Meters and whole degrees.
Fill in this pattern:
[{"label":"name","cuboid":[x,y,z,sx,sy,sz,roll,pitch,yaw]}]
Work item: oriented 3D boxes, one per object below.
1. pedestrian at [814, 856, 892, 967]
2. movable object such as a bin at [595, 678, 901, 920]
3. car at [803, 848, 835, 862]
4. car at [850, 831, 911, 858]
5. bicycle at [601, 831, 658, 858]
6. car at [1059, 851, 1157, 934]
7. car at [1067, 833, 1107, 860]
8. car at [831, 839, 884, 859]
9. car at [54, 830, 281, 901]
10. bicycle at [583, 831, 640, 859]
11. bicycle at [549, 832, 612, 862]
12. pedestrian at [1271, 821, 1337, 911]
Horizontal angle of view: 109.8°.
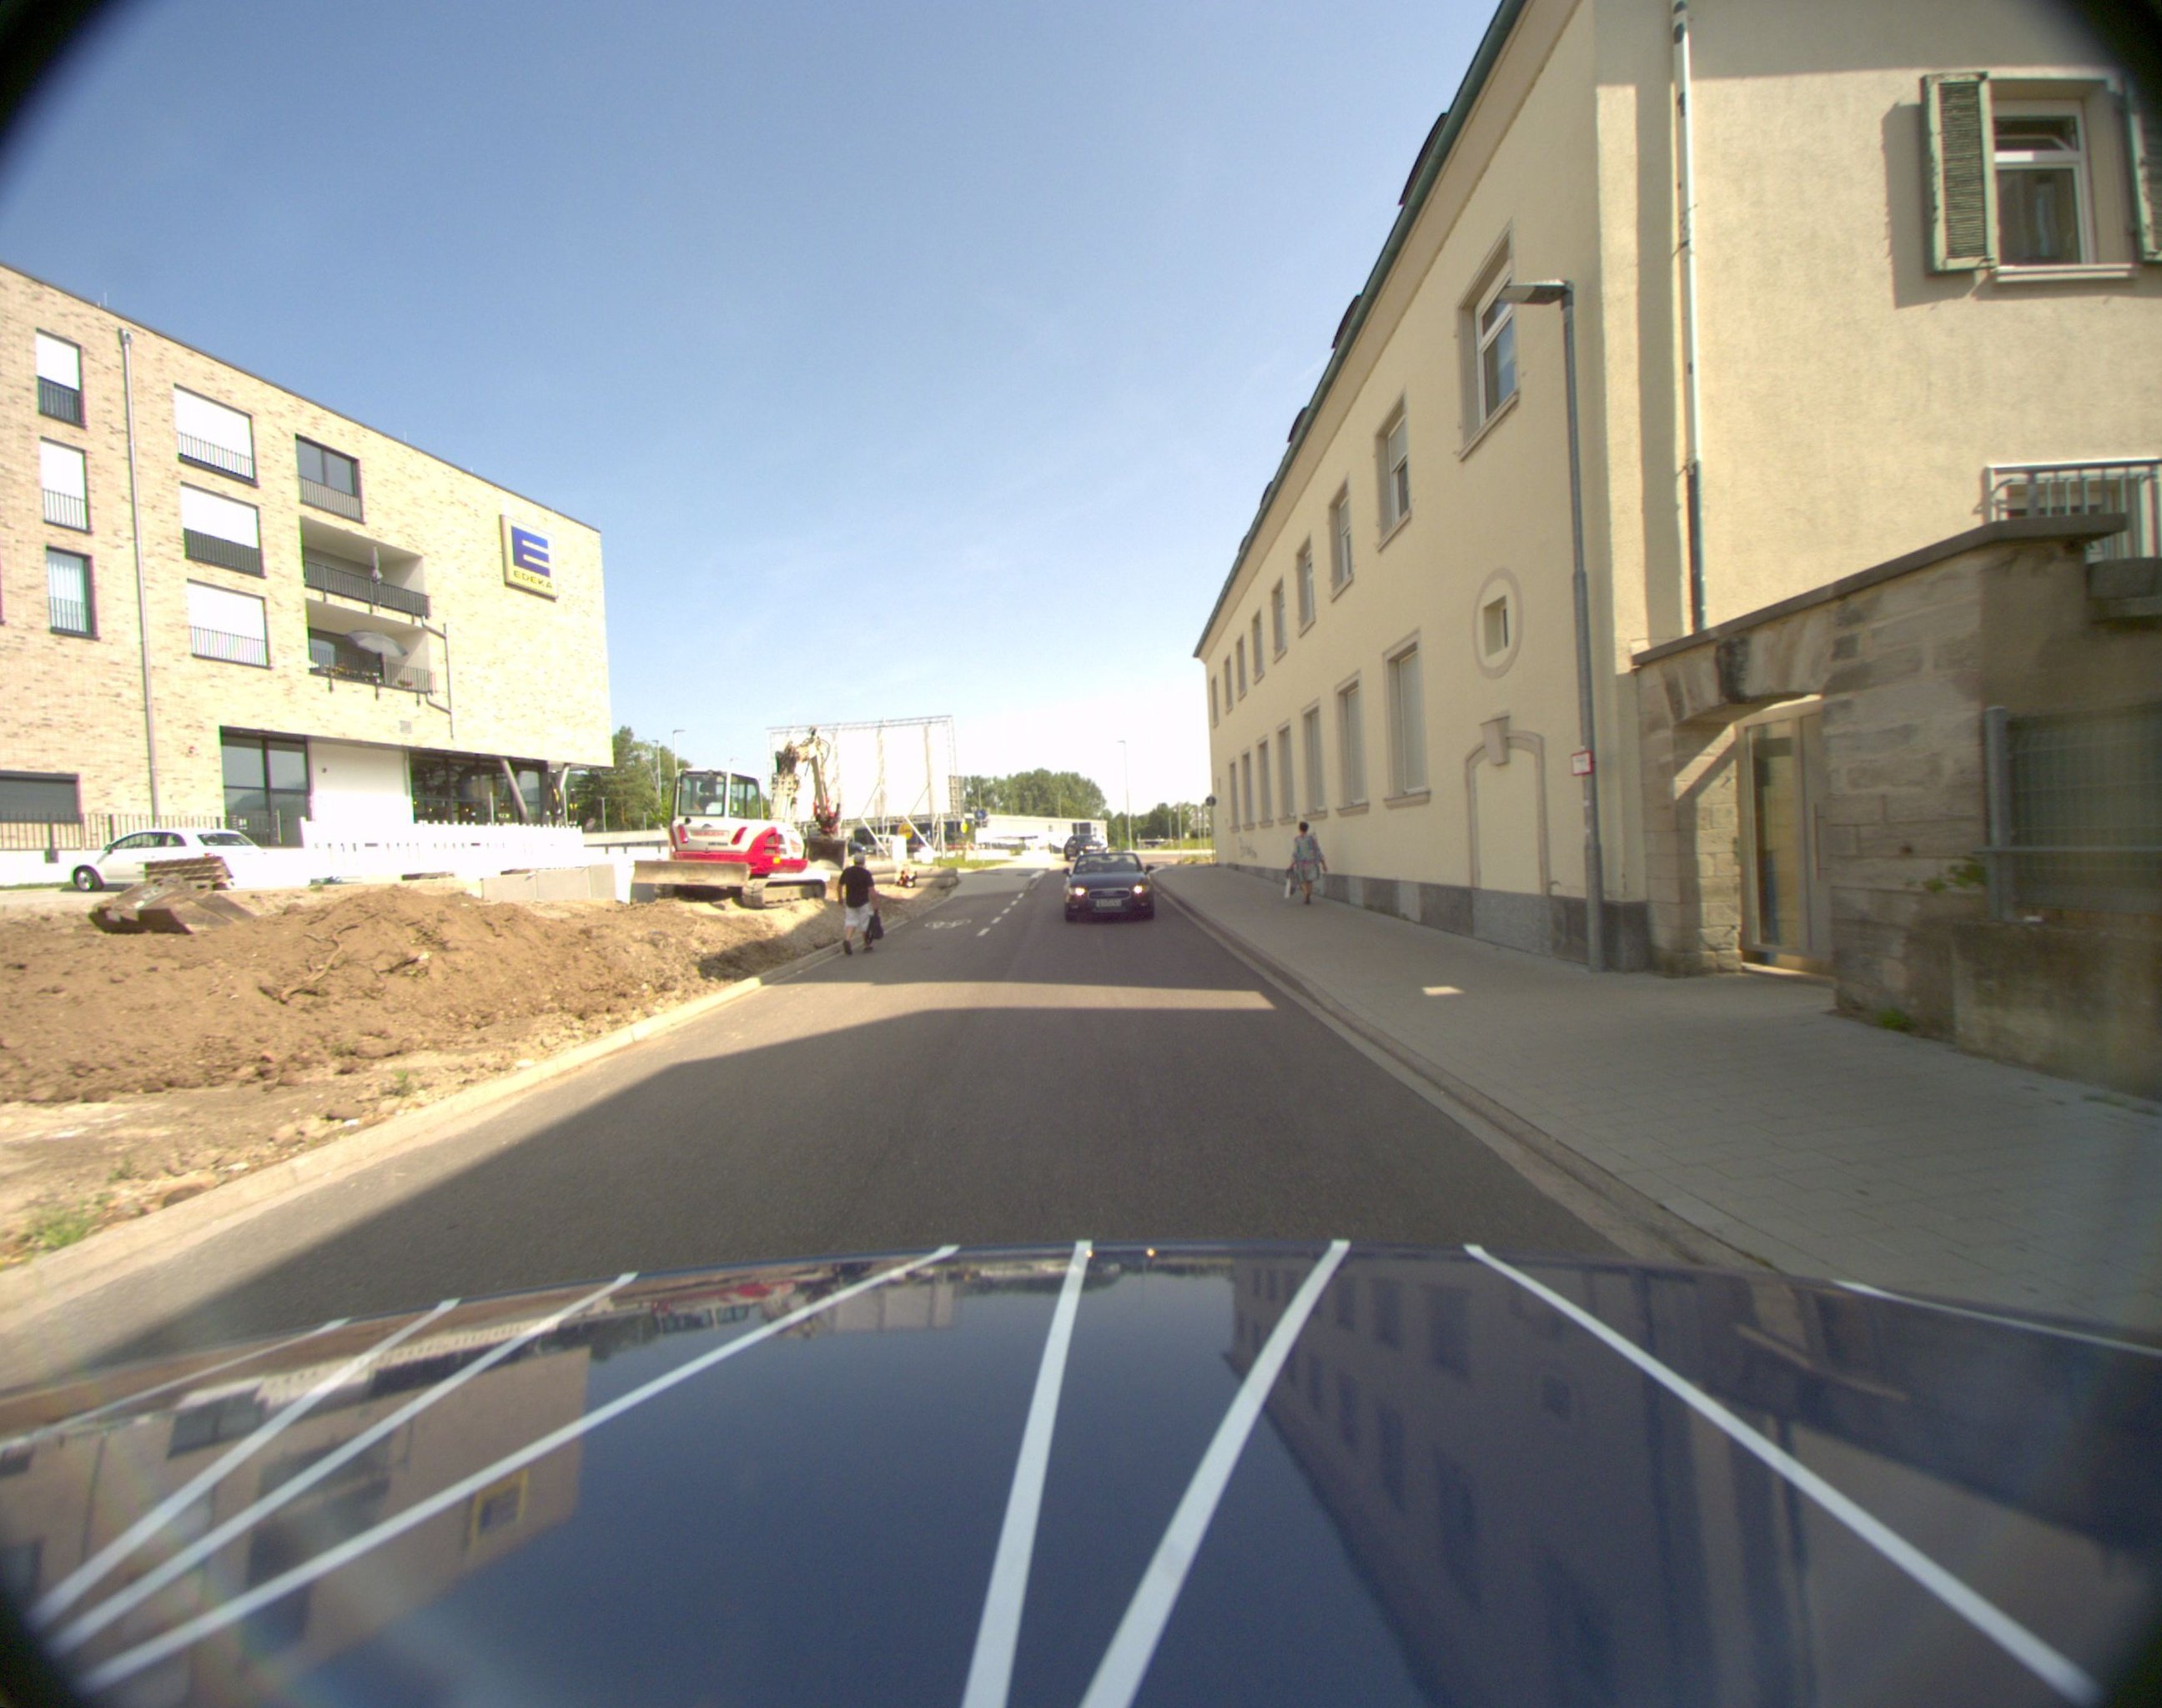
[{"label":"pedestrian","cuboid":[-3.683,0.912,12.342,0.890,1.673,0.718,-5,2,1]},{"label":"movable object such as a bin","cuboid":[-6.482,-0.975,16.562,2.300,3.832,7.800,-5,1,5]},{"label":"car","cuboid":[-32.179,0.099,93.425,1.663,1.564,3.791,-5,0,18]},{"label":"car","cuboid":[-21.632,-1.041,81.971,6.080,2.369,2.063,-5,0,20]},{"label":"bicycle","cuboid":[-22.383,-0.472,37.680,2.242,1.137,0.857,-5,0,3]},{"label":"car","cuboid":[0.559,0.684,15.751,1.721,1.315,4.223,-2,2,2]},{"label":"car","cuboid":[0.329,-0.432,46.652,1.643,1.384,4.227,-5,0,-9]},{"label":"car","cuboid":[-22.455,-0.500,76.281,4.850,1.521,1.925,-5,0,22]},{"label":"car","cuboid":[-21.753,0.241,18.191,3.413,1.487,1.594,-2,2,1]},{"label":"bicycle","cuboid":[-22.591,-0.442,36.571,2.242,1.137,0.766,-5,0,3]},{"label":"bicycle","cuboid":[-22.803,-0.317,34.642,2.242,1.137,0.857,-5,0,3]},{"label":"pedestrian","cuboid":[4.254,0.218,14.557,0.960,1.622,0.758,-4,2,1]}]
